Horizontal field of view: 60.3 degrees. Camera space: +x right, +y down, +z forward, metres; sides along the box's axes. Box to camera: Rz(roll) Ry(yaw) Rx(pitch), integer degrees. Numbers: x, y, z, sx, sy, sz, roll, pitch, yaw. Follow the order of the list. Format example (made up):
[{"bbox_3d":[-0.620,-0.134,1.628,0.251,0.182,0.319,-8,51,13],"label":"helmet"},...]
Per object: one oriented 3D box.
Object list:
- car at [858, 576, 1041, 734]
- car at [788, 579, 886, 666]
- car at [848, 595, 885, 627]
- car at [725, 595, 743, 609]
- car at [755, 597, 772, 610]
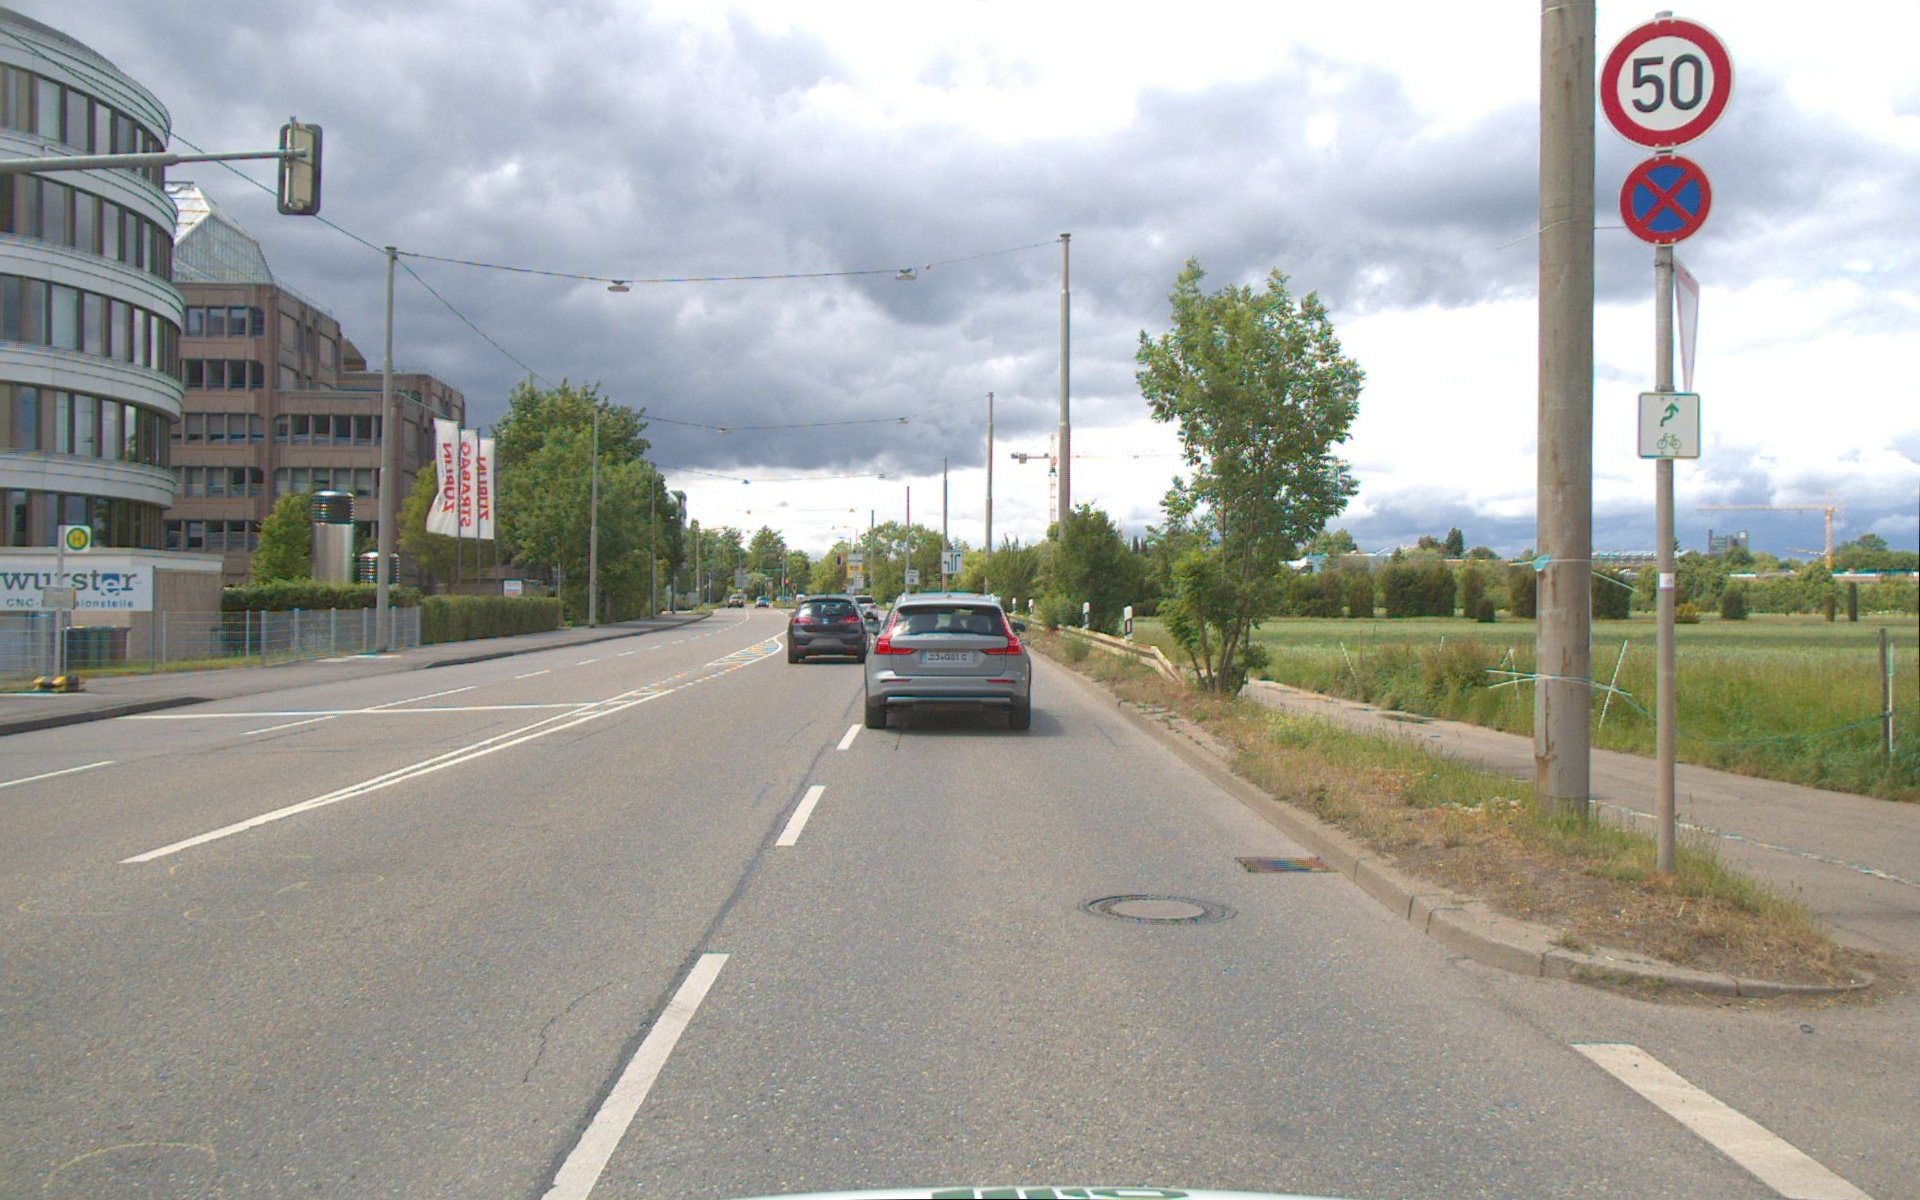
[{"bbox_3d":[-0.117,0.596,19.188,1.857,1.581,3.999,2,-1,0],"label":"car"},{"bbox_3d":[-2.668,0.486,36.314,1.954,1.747,3.997,2,-1,-3],"label":"car"},{"bbox_3d":[-5.336,0.620,94.380,1.953,1.724,3.998,2,-1,-2],"label":"car"},{"bbox_3d":[-28.639,0.251,209.582,1.844,1.747,3.997,2,-1,-3],"label":"car"},{"bbox_3d":[-24.649,0.469,207.790,1.844,1.547,3.997,2,-1,-3],"label":"car"}]
